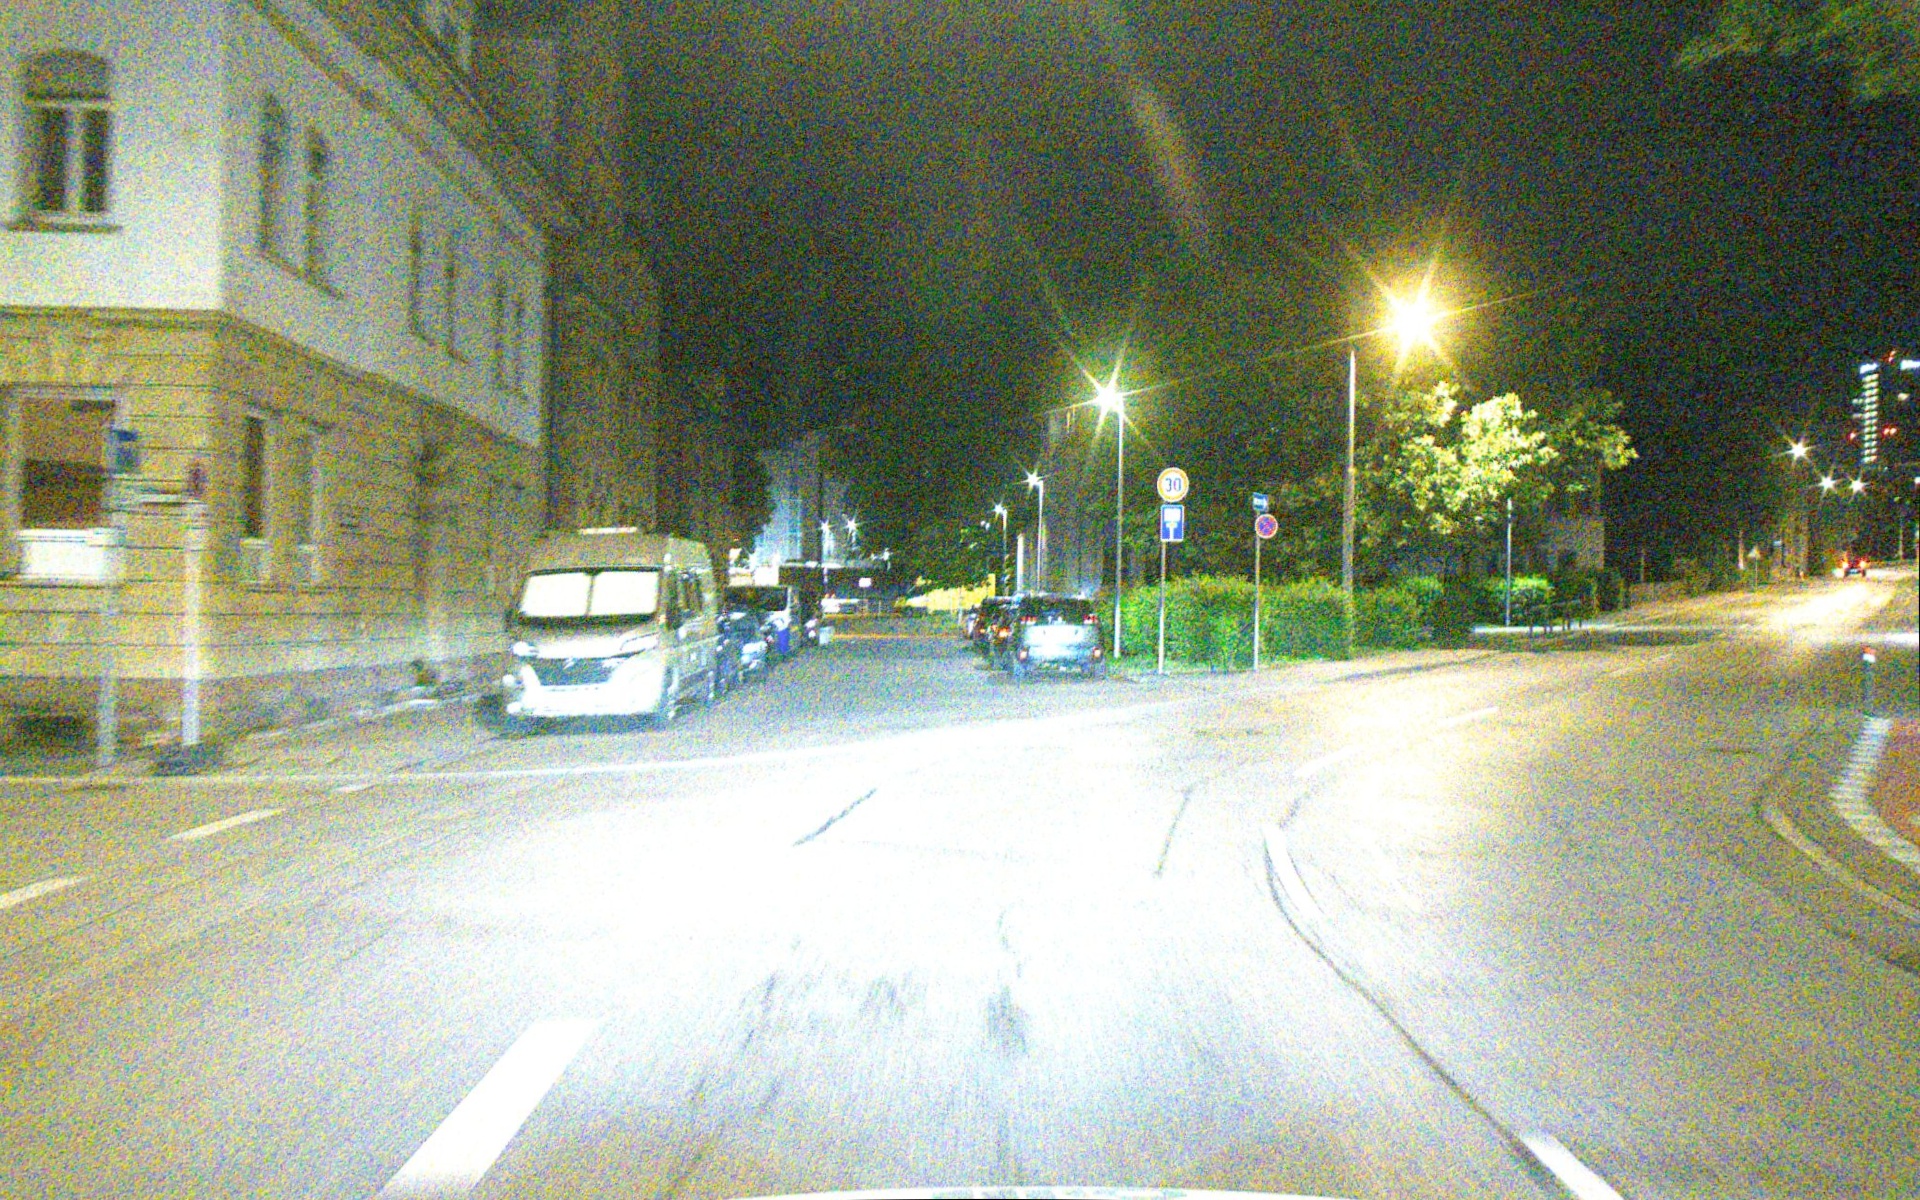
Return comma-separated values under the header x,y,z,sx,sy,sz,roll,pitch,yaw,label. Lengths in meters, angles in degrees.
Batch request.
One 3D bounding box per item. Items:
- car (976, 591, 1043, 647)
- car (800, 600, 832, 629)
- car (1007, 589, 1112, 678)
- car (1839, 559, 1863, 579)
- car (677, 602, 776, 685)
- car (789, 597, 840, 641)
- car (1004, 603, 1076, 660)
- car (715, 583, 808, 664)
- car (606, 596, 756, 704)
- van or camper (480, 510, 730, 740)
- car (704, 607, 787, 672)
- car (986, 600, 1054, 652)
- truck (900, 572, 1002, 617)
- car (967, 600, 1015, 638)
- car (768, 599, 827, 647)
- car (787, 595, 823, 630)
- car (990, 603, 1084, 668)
x,y,z,sx,sy,sz,roll,pitch,yaw,label
1.614,0.632,55.846,1.998,1.724,4.880,-2,0,-1,car
-8.010,0.801,92.104,1.575,1.543,3.806,0,-1,-3,car
1.926,0.635,33.052,1.845,1.631,4.107,-2,0,1,car
89.640,-3.131,166.367,1.889,1.887,3.991,-1,-1,31,car
-4.691,0.815,33.315,1.804,1.533,4.733,-1,0,-8,car
-5.384,0.707,61.565,1.643,1.594,4.103,0,-1,-2,car
2.079,0.809,43.707,1.664,1.416,3.626,0,-1,-1,car
-5.150,0.577,43.499,1.953,1.989,4.804,0,0,-1,car
-4.595,0.777,27.835,1.854,1.618,4.373,-2,0,-2,car
-4.573,0.297,22.414,2.115,2.580,6.224,-2,0,-2,van or camper
-4.920,0.870,38.350,1.658,1.423,4.075,0,0,-4,car
1.796,0.749,50.526,1.842,1.439,4.472,-2,0,0,car
-0.619,-0.368,110.456,6.643,2.894,1.998,0,0,-4,truck
1.243,0.753,67.081,1.723,1.470,4.024,-1,0,-2,car
-5.424,0.755,55.597,1.670,1.536,4.098,1,-1,-2,car
-8.029,0.649,86.027,1.604,1.791,3.961,0,-1,-2,car
1.729,0.788,38.169,1.923,1.407,3.999,0,-1,-1,car
